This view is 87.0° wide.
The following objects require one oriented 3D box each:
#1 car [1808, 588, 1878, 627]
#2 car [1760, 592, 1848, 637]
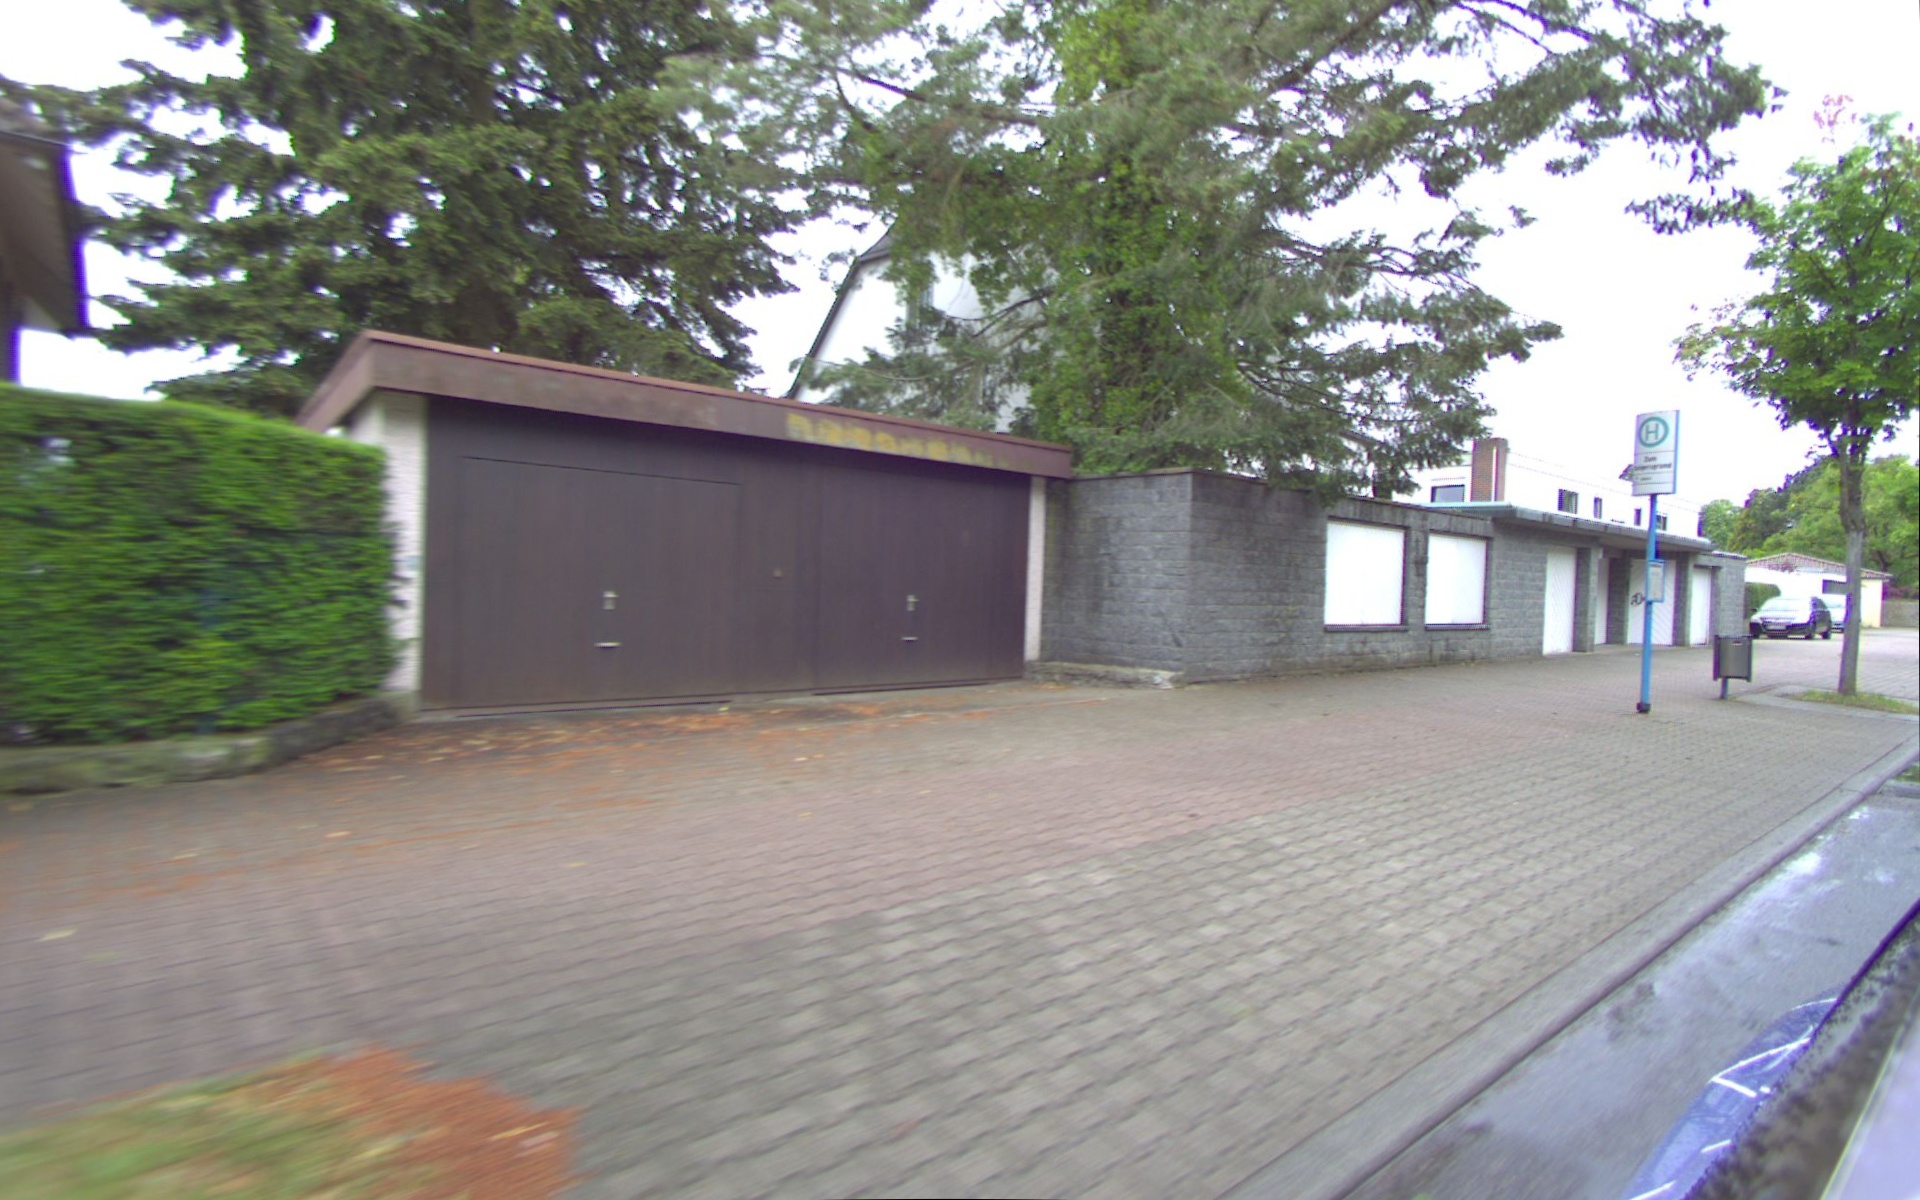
[{"bbox_3d":[37.850,0.304,43.369,3.929,1.581,1.699,-1,0,-40],"label":"car"},{"bbox_3d":[28.816,0.459,34.525,3.929,1.440,1.665,0,0,-40],"label":"car"}]
